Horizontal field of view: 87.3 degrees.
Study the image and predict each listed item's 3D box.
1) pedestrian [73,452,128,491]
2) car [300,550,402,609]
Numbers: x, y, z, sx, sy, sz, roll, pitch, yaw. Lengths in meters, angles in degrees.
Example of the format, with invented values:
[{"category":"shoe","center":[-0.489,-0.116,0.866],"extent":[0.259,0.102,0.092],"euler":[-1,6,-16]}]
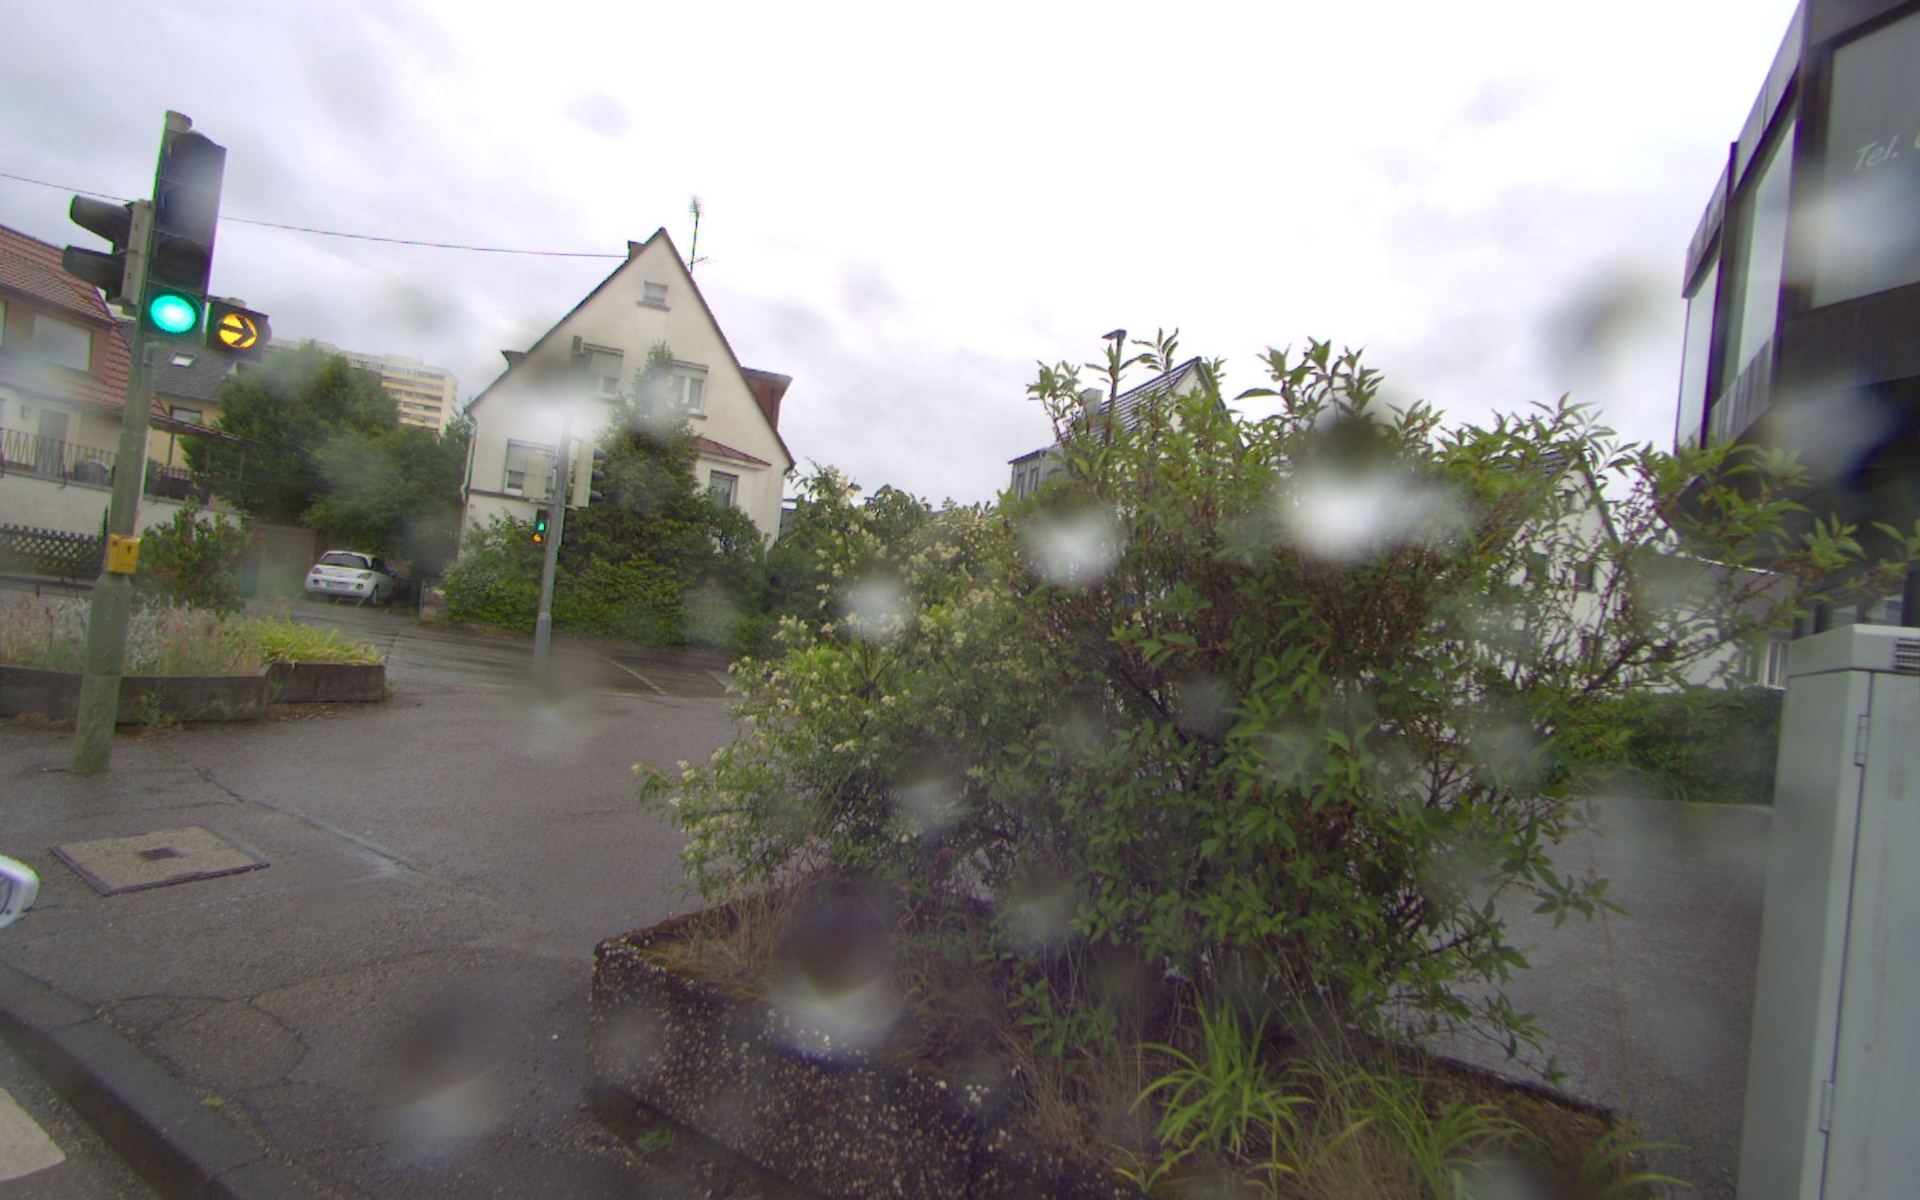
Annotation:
[{"category":"pedestrian","center":[-24.217,-3.604,28.344],"extent":[0.623,0.893,0.920],"euler":[5,-2,13]},{"category":"car","center":[-17.689,-0.572,29.387],"extent":[1.794,1.378,3.982],"euler":[8,-2,-22]}]
